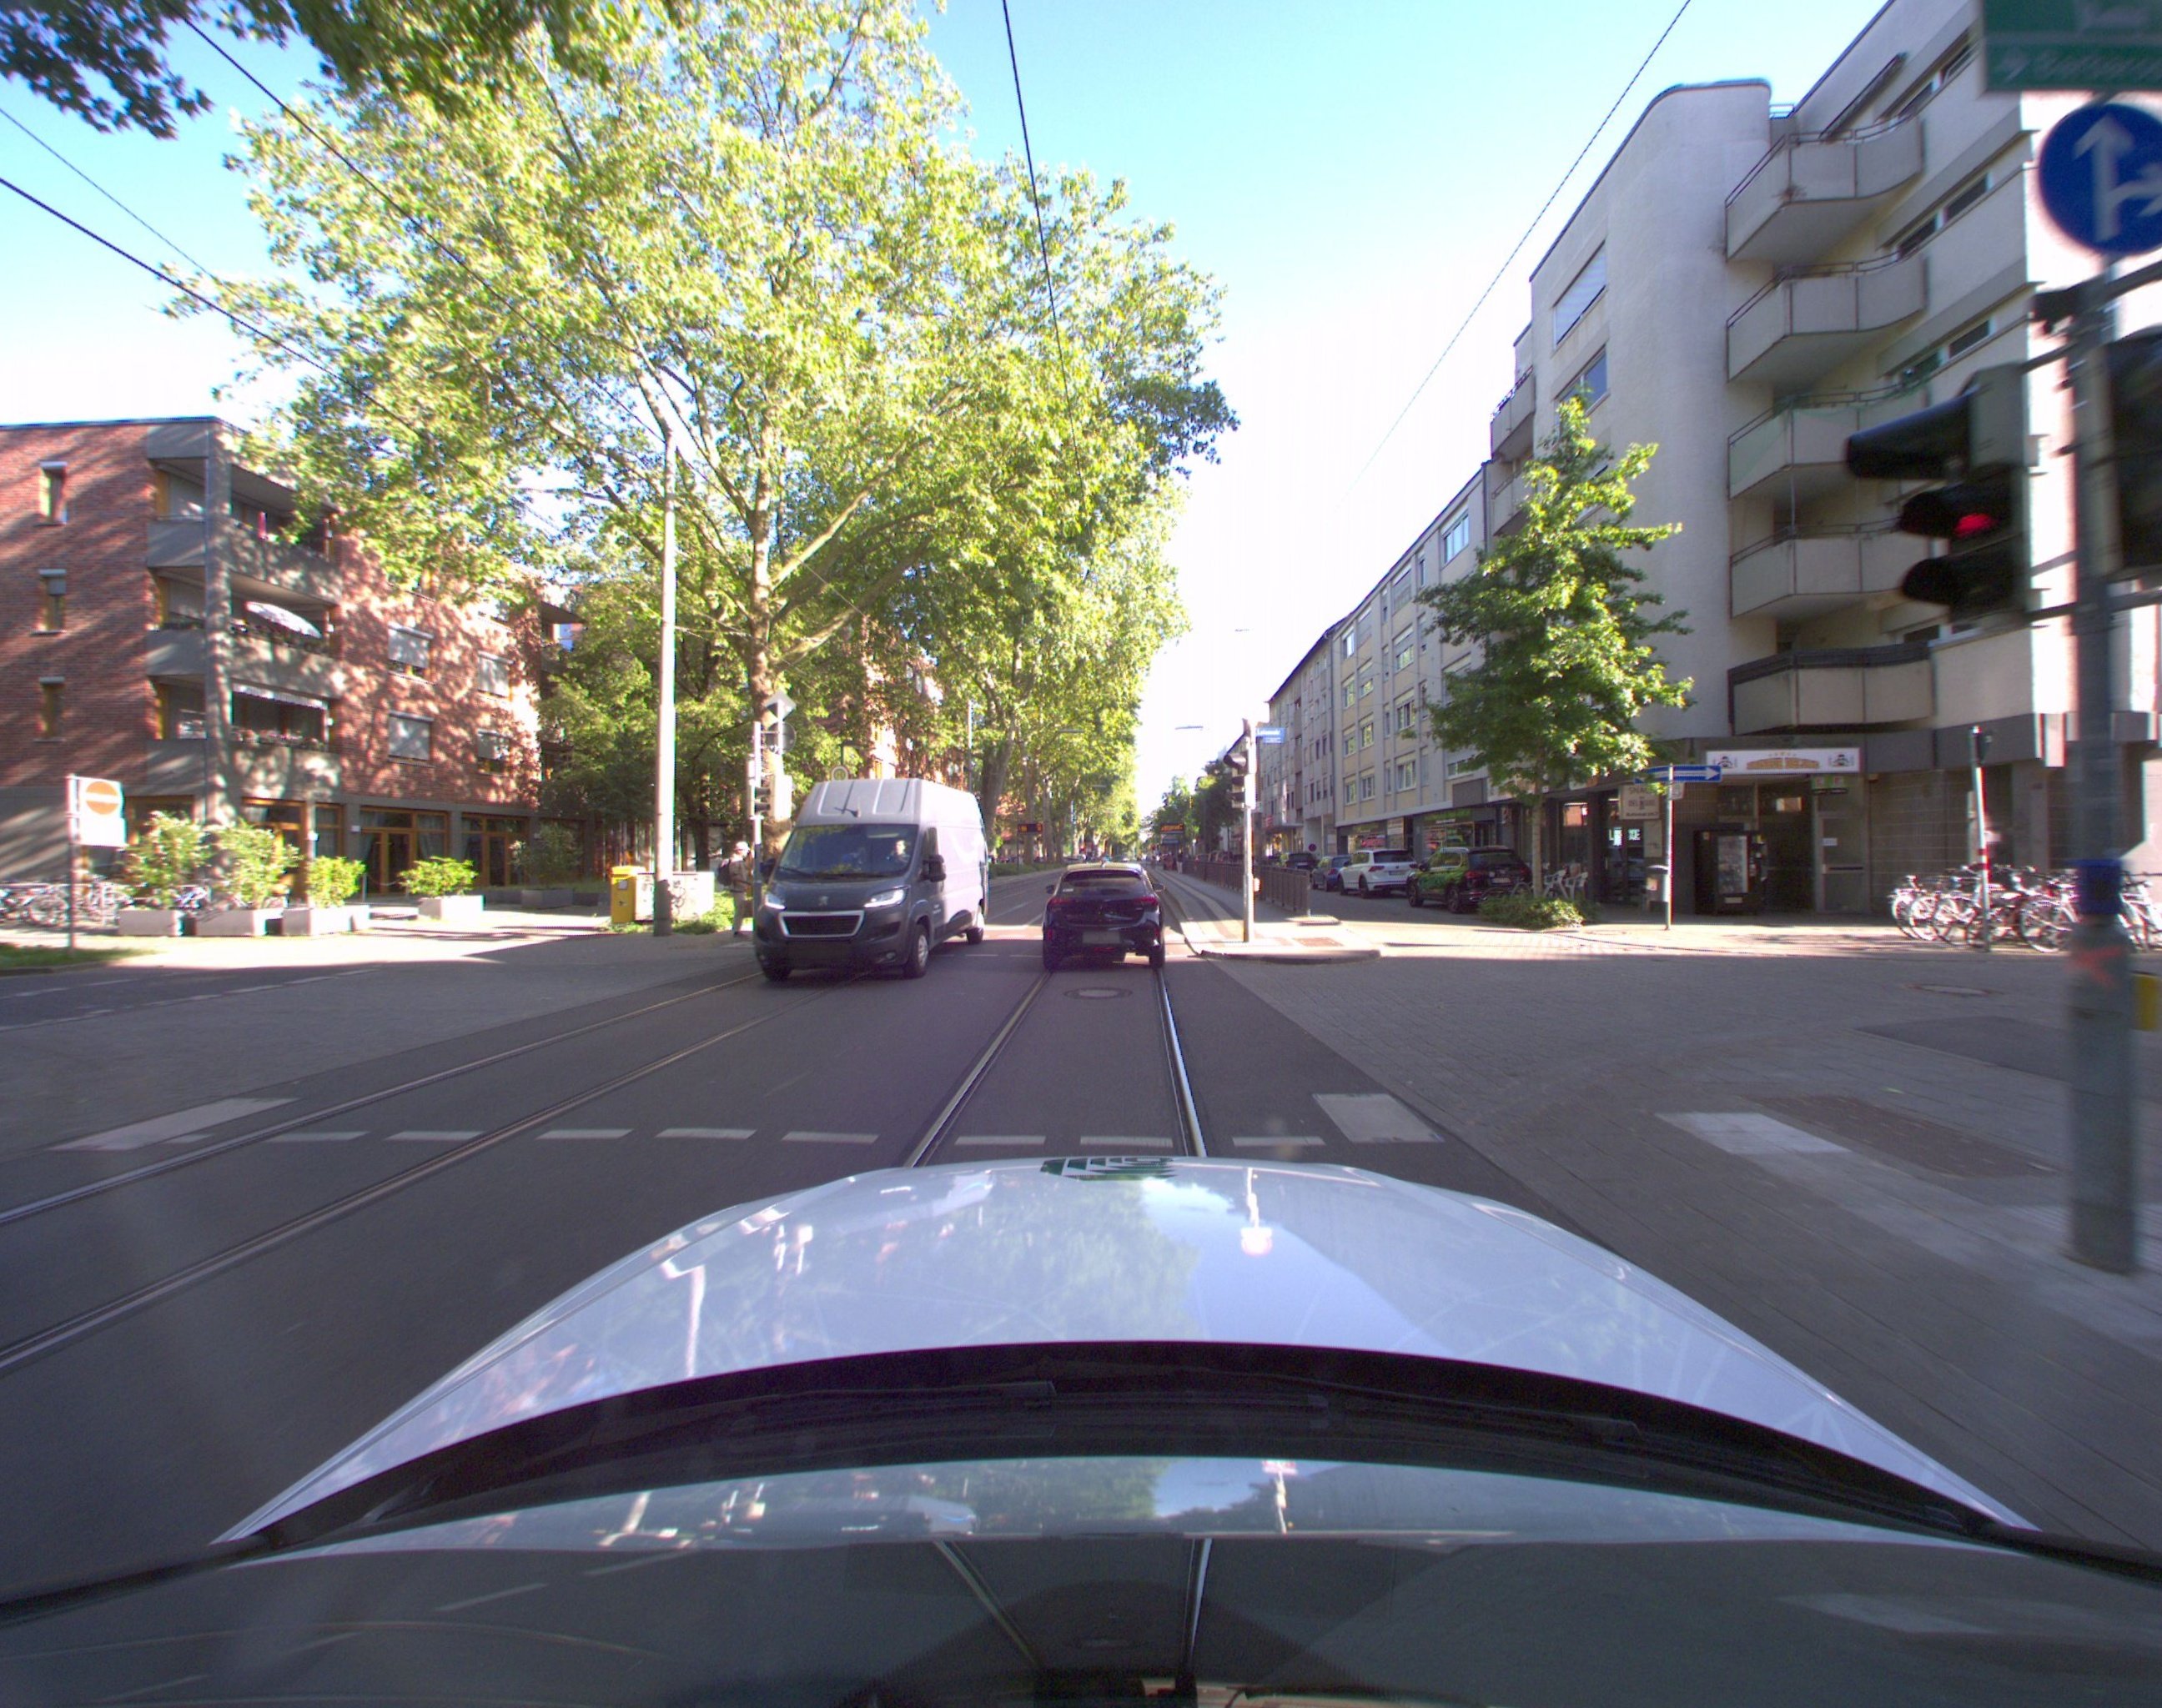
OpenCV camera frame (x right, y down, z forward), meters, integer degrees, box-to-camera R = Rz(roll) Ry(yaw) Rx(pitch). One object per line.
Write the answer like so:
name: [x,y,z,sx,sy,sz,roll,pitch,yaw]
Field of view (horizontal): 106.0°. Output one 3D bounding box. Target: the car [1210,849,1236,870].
car: [13.695,0.514,78.722,1.985,1.952,4.003,0,-1,3]

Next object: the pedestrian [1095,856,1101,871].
pedestrian: [2.380,1.312,113.044,0.671,2.013,0.703,1,0,9]

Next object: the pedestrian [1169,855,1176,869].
pedestrian: [7.778,0.697,69.523,0.532,1.230,0.510,0,-1,-1]

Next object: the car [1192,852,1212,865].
car: [14.470,0.591,97.639,1.985,1.486,4.004,0,-1,4]

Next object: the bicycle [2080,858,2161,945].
bicycle: [15.567,0.668,11.665,1.908,1.207,0.511,0,1,-1]

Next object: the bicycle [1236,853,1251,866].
bicycle: [14.101,0.472,70.761,0.597,1.136,2.198,0,-1,-7]

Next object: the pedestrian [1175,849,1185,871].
pedestrian: [7.124,0.451,58.578,0.628,1.576,0.871,2,0,4]

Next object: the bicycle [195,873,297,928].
bicycle: [-18.638,1.006,18.225,0.539,1.084,1.640,0,2,2]

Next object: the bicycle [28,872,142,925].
bicycle: [-22.701,0.989,18.610,0.539,1.084,1.640,0,0,2]

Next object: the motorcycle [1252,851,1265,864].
motorcycle: [17.059,0.334,78.227,0.888,1.280,2.045,0,-1,4]

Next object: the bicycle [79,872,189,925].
bicycle: [-21.579,0.988,18.604,0.539,1.084,1.640,0,2,2]

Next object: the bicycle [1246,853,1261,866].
bicycle: [14.740,0.463,69.714,0.597,1.136,2.198,0,-1,-7]

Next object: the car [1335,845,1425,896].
car: [10.286,0.555,28.341,1.791,1.606,4.419,0,-1,4]

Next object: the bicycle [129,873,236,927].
bicycle: [-20.312,1.013,18.457,0.539,1.084,1.640,0,1,2]

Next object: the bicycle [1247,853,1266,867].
bicycle: [14.255,0.487,66.179,0.610,1.136,2.914,0,-1,-7]

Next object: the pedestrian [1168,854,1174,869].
pedestrian: [7.804,0.678,70.769,0.501,1.304,0.428,0,-1,-1]

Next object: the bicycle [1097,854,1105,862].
bicycle: [3.404,0.697,137.222,0.950,1.240,2.983,0,-1,7]

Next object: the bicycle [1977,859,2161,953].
bicycle: [13.438,0.691,11.095,1.908,1.207,0.511,-1,0,-1]

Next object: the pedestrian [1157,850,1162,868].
pedestrian: [7.895,0.497,81.684,0.528,1.709,0.753,0,-1,6]

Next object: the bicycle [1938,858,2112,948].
bicycle: [13.429,0.682,11.605,1.908,1.207,0.511,-1,0,-1]

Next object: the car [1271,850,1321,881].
car: [11.666,0.623,44.388,1.849,1.615,4.402,0,-1,4]

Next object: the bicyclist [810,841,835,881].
bicyclist: [-11.643,0.314,36.723,0.771,1.750,0.998,0,-1,1]

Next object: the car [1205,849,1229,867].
car: [14.201,0.417,85.252,1.985,1.797,4.003,0,-1,3]

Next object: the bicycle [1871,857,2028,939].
bicycle: [13.519,0.673,12.694,1.908,1.207,0.511,-1,0,-1]

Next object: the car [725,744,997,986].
car: [-2.869,0.165,12.468,2.104,2.738,6.120,-1,-1,4]

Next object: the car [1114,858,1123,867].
car: [6.830,1.509,148.282,1.738,1.544,4.002,0,-1,2]

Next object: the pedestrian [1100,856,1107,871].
pedestrian: [3.104,1.309,112.885,0.670,2.013,0.704,1,0,15]

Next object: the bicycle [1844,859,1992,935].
bicycle: [13.592,0.691,13.245,1.908,1.208,0.511,0,-1,-1]

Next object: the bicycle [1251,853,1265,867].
bicycle: [14.660,0.537,67.479,0.410,1.136,2.198,0,-1,-7]

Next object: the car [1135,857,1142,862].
car: [17.269,1.758,244.873,1.738,1.544,4.002,0,-1,2]

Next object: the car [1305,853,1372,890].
car: [10.685,0.719,34.078,1.736,1.440,4.251,0,-1,4]

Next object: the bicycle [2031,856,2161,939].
bicycle: [15.564,0.650,12.278,1.908,1.208,0.511,0,-1,-1]

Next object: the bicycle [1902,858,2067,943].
bicycle: [13.440,0.681,12.140,1.908,1.207,0.511,-1,0,-1]

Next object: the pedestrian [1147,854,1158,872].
pedestrian: [6.832,0.832,77.338,0.742,1.709,0.768,0,-1,38]

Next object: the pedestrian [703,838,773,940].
pedestrian: [-6.434,0.629,15.322,0.921,1.835,0.920,0,2,-1]

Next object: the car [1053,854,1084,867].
car: [-1.704,0.928,108.562,4.105,1.701,1.881,0,-1,-4]

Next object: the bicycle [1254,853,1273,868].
bicycle: [14.058,0.509,62.819,0.621,1.136,2.433,0,-1,-7]

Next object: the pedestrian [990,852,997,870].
pedestrian: [-9.599,0.779,89.324,0.666,1.950,0.500,0,-1,19]

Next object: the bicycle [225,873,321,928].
bicycle: [-18.013,1.020,18.200,0.539,1.084,1.538,0,2,2]

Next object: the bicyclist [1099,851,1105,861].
bicyclist: [3.518,0.284,138.121,0.936,1.703,1.155,0,-1,7]

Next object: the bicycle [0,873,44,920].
bicycle: [-25.373,0.993,18.869,0.539,1.084,1.639,0,-1,2]

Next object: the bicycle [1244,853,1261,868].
bicycle: [13.730,0.540,65.269,0.602,1.136,2.428,0,-1,-7]

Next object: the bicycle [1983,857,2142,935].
bicycle: [15.572,0.662,12.942,1.908,1.208,0.511,0,-2,-1]

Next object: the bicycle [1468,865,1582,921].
bicycle: [9.767,0.834,17.976,2.112,1.187,0.683,0,-1,11]

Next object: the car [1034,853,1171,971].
car: [0.332,0.776,12.453,1.753,1.508,3.684,-1,-1,1]

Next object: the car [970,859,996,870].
car: [-17.621,1.920,146.354,4.232,2.014,2.002,0,-1,3]

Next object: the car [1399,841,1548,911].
car: [10.118,0.552,21.429,1.985,1.615,4.449,-1,-1,4]

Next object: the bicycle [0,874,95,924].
bicycle: [-24.041,1.016,18.775,0.539,1.084,1.639,0,-1,2]
